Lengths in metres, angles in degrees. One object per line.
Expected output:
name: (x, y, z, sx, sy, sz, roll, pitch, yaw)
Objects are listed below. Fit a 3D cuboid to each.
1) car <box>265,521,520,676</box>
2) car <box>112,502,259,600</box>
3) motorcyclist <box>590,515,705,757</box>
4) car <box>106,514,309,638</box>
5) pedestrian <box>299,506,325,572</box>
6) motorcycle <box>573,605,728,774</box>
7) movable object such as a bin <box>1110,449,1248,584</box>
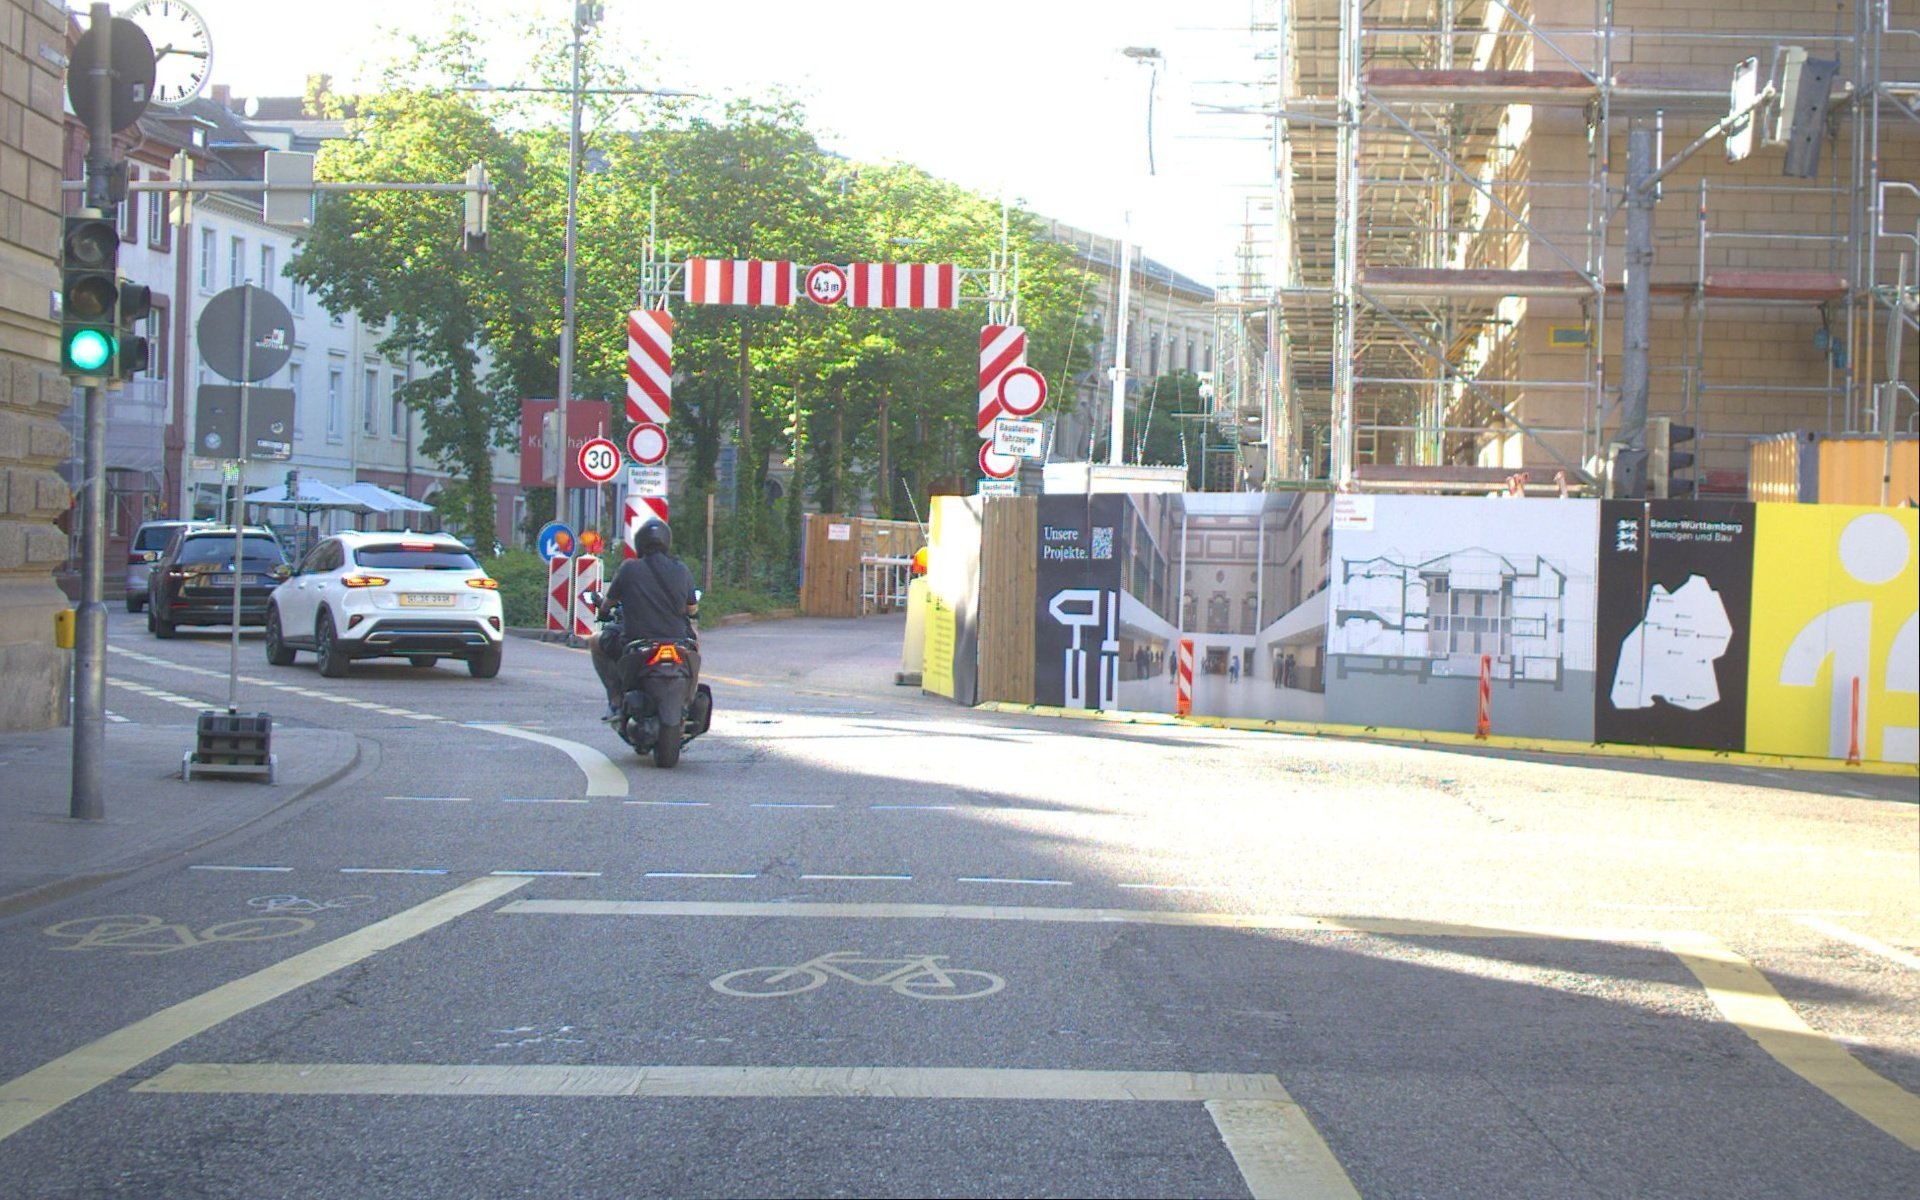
car: (-6.070, -0.049, 36.424, 1.850, 1.475, 4.059, 2, 1, -21)
car: (-14.276, -0.914, 63.556, 1.840, 1.707, 4.058, 2, 1, -1)
motorcyclist: (-2.180, 0.245, 23.954, 0.657, 1.645, 0.651, 2, 1, -14)
car: (-9.798, -0.338, 44.547, 1.840, 1.458, 4.059, 2, 1, -23)
pedestrian: (-17.364, -1.630, 92.137, 0.438, 1.769, 0.597, 1, 1, 20)
motorcycle: (-2.156, 0.599, 23.762, 0.796, 1.062, 1.726, 2, 1, -13)
movable object such as a bin: (7.709, -2.869, 120.016, 3.309, 4.524, 7.899, 0, 1, 15)
